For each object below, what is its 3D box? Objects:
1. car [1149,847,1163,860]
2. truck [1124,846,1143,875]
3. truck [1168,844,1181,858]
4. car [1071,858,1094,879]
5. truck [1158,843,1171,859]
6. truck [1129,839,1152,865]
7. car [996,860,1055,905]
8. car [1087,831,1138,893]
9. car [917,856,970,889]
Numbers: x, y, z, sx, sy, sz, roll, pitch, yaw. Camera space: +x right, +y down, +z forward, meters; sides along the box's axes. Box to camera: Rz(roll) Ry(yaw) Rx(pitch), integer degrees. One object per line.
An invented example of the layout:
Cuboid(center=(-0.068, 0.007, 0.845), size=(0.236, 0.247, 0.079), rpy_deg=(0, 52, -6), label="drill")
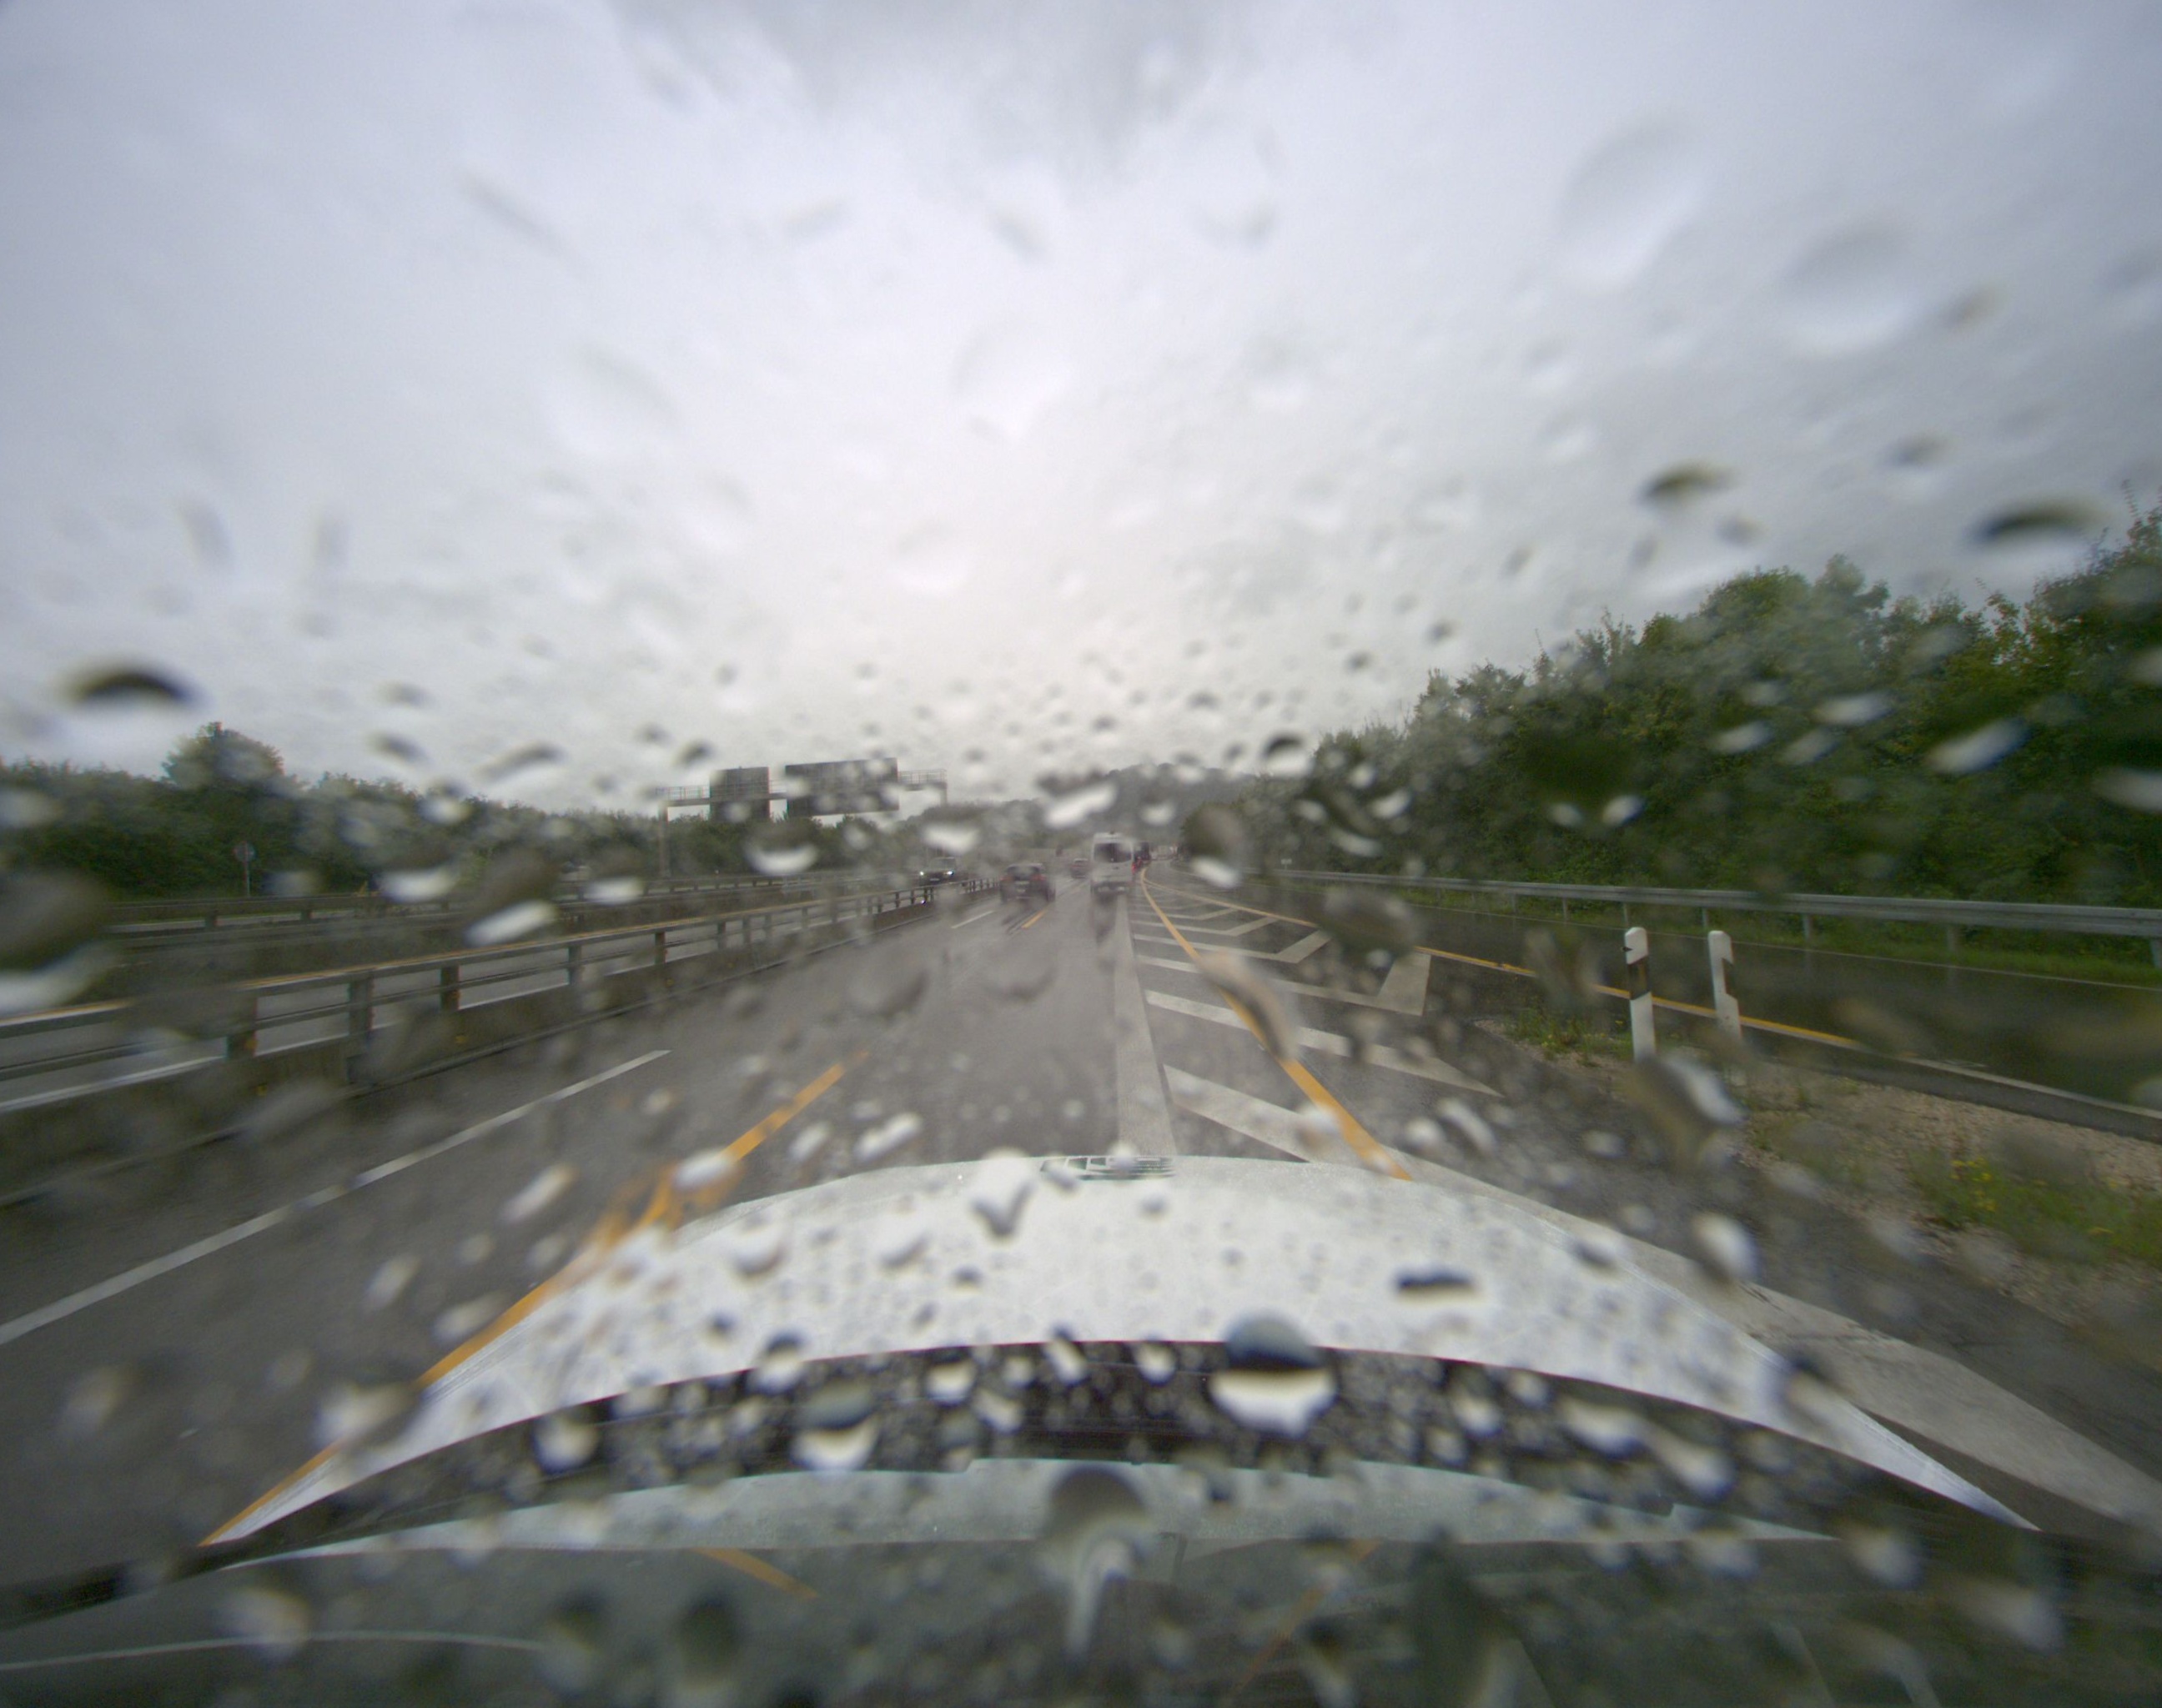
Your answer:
Cuboid(center=(17.067, -0.069, 186.059), size=(2.882, 2.887, 6.425), rpy_deg=(0, -1, 8), label="car")
Cuboid(center=(6.010, 0.727, 93.254), size=(1.985, 3.109, 8.507), rpy_deg=(0, -1, 4), label="truck")
Cuboid(center=(29.745, -0.947, 258.895), size=(2.879, 4.406, 9.657), rpy_deg=(-1, -1, 13), label="truck")
Cuboid(center=(0.144, 1.134, 64.360), size=(1.700, 1.627, 4.002), rpy_deg=(0, -1, 2), label="car")
Cuboid(center=(23.266, -0.694, 226.450), size=(3.019, 4.406, 9.646), rpy_deg=(-1, -1, 8), label="truck")
Cuboid(center=(10.429, -0.304, 141.090), size=(3.562, 4.406, 9.641), rpy_deg=(0, -1, 7), label="truck")
Cuboid(center=(-1.997, 1.010, 30.493), size=(1.940, 1.561, 3.999), rpy_deg=(0, -1, 0), label="car")
Cuboid(center=(1.405, 0.349, 36.649), size=(2.137, 2.571, 5.391), rpy_deg=(0, -1, 2), label="car")
Cuboid(center=(-7.680, 1.002, 46.007), size=(1.944, 1.717, 5.105), rpy_deg=(0, -1, 2), label="car")
